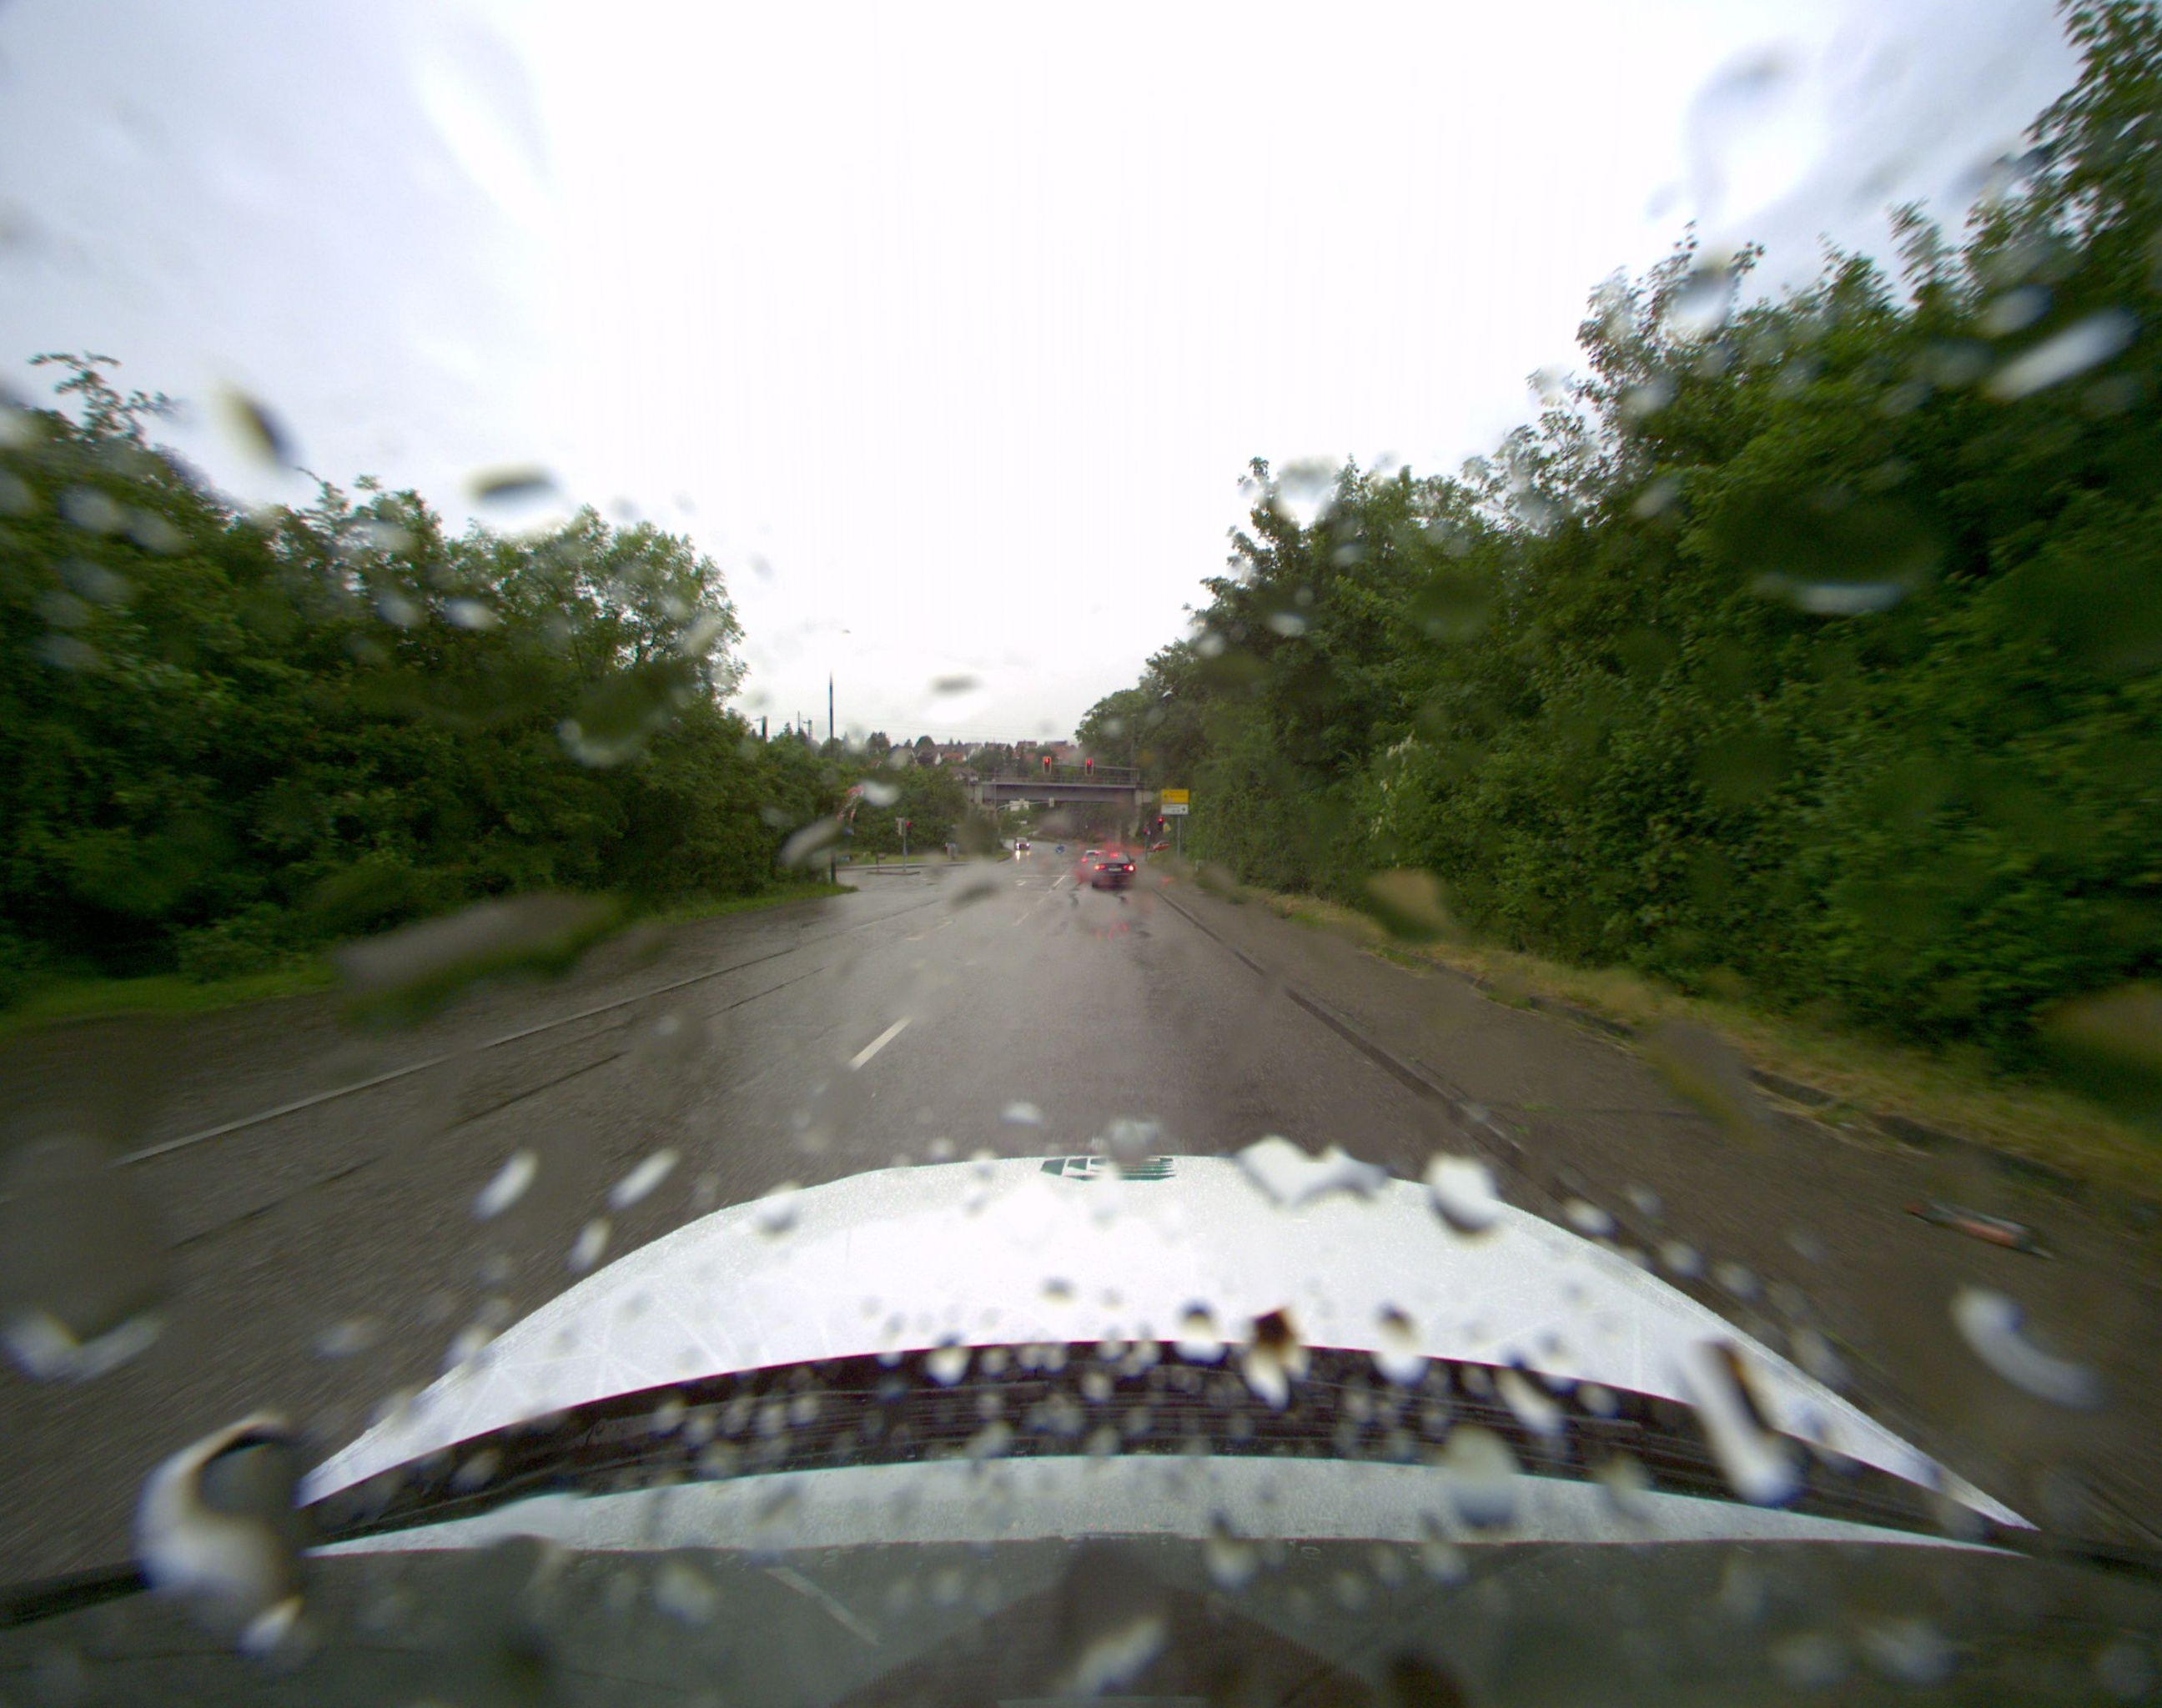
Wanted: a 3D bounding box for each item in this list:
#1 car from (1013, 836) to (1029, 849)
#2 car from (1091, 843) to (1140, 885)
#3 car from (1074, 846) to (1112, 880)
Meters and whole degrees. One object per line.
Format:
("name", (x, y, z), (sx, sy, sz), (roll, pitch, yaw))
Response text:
("car", (-8.491, -1.609, 114.462), (1.992, 1.628, 3.990), (-1, 0, -7))
("car", (1.395, 0.369, 33.454), (1.863, 1.616, 4.002), (1, 0, 1))
("car", (0.610, 0.455, 40.436), (1.816, 1.585, 4.001), (-1, 0, 1))
